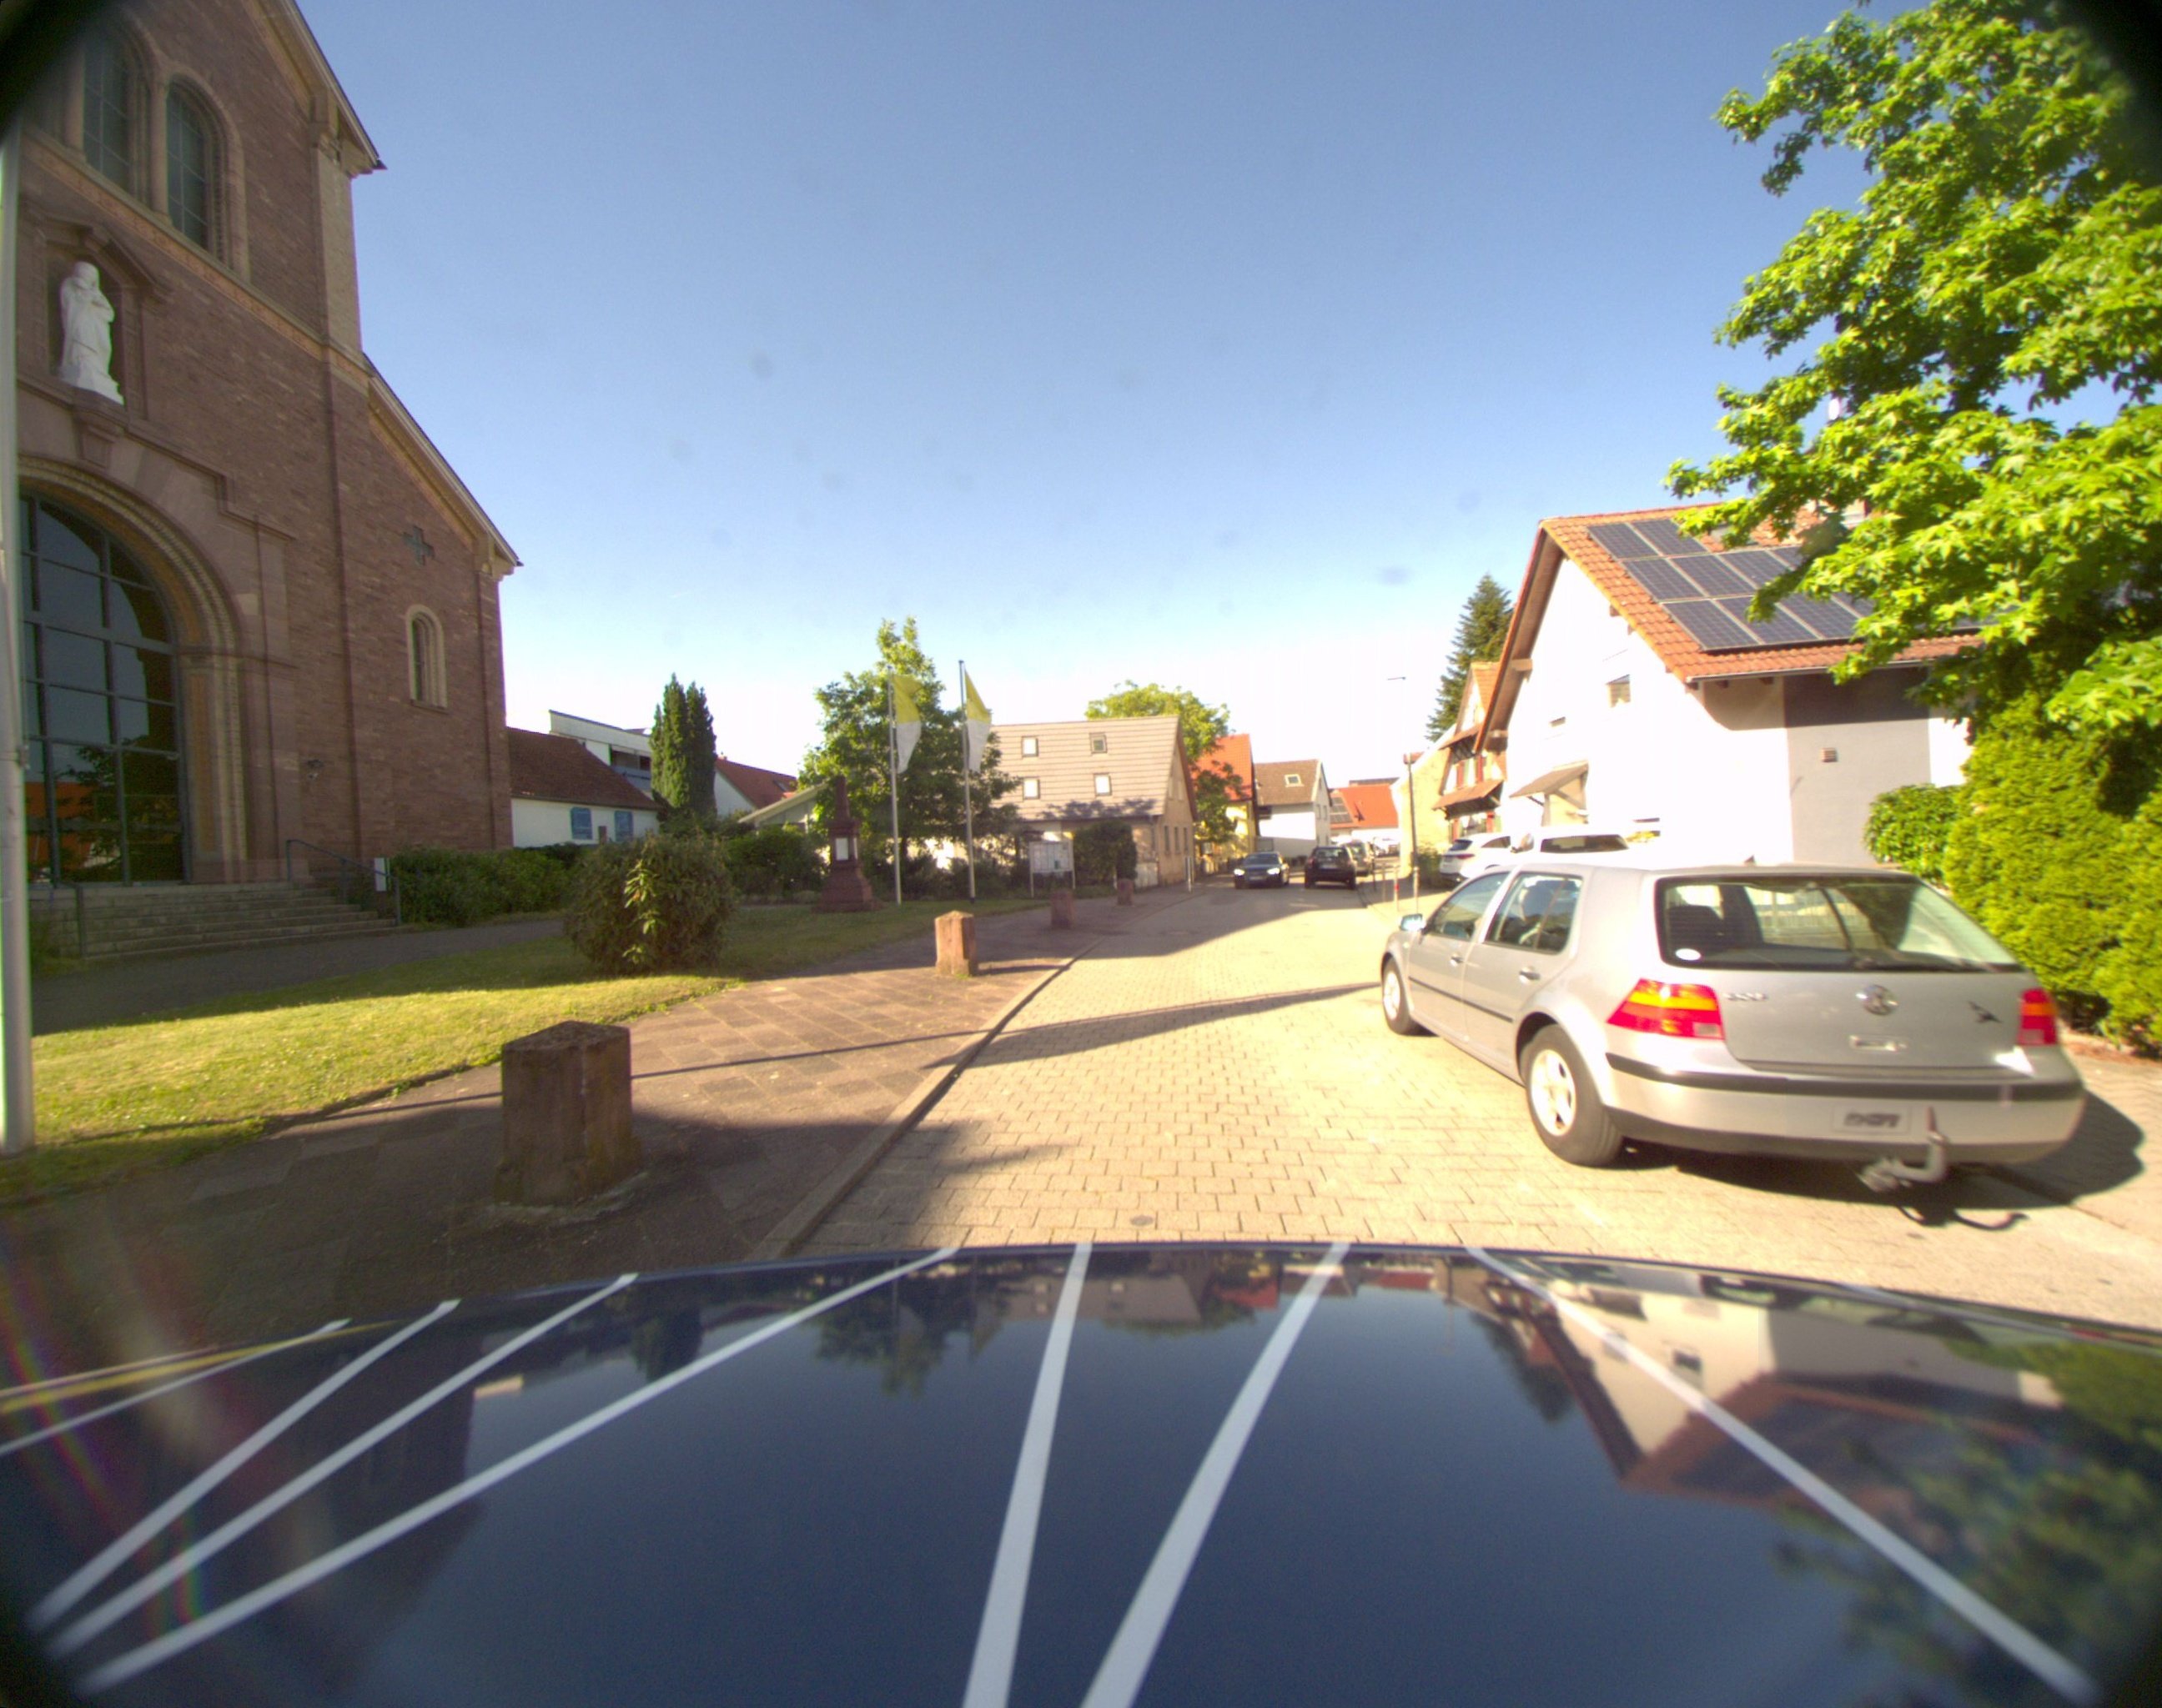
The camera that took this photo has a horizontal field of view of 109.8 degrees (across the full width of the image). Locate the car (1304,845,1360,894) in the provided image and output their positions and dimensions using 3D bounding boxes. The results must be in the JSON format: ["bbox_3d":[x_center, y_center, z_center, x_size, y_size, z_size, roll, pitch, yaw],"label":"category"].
[{"bbox_3d":[9.718,0.544,29.196,1.834,1.661,4.358,-2,1,20],"label":"car"}]

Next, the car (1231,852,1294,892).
[{"bbox_3d":[7.322,0.651,30.362,1.804,1.469,4.351,0,0,22],"label":"car"}]

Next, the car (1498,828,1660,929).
[{"bbox_3d":[9.248,0.374,14.498,1.819,1.586,4.452,-4,0,24],"label":"car"}]

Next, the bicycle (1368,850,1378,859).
[{"bbox_3d":[26.793,0.069,69.704,0.581,0.757,1.803,0,1,29],"label":"bicycle"}]

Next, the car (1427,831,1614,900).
[{"bbox_3d":[12.221,0.314,21.378,3.995,1.579,2.001,-4,0,6],"label":"car"}]

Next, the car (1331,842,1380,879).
[{"bbox_3d":[14.270,0.316,39.367,1.833,1.779,4.360,-1,0,26],"label":"car"}]

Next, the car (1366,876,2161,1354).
[{"bbox_3d":[3.077,0.907,4.431,1.674,1.394,3.893,-1,1,5],"label":"car"}]

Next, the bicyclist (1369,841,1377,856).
[{"bbox_3d":[26.755,-0.503,69.696,0.581,1.313,0.609,0,1,29],"label":"bicyclist"}]
